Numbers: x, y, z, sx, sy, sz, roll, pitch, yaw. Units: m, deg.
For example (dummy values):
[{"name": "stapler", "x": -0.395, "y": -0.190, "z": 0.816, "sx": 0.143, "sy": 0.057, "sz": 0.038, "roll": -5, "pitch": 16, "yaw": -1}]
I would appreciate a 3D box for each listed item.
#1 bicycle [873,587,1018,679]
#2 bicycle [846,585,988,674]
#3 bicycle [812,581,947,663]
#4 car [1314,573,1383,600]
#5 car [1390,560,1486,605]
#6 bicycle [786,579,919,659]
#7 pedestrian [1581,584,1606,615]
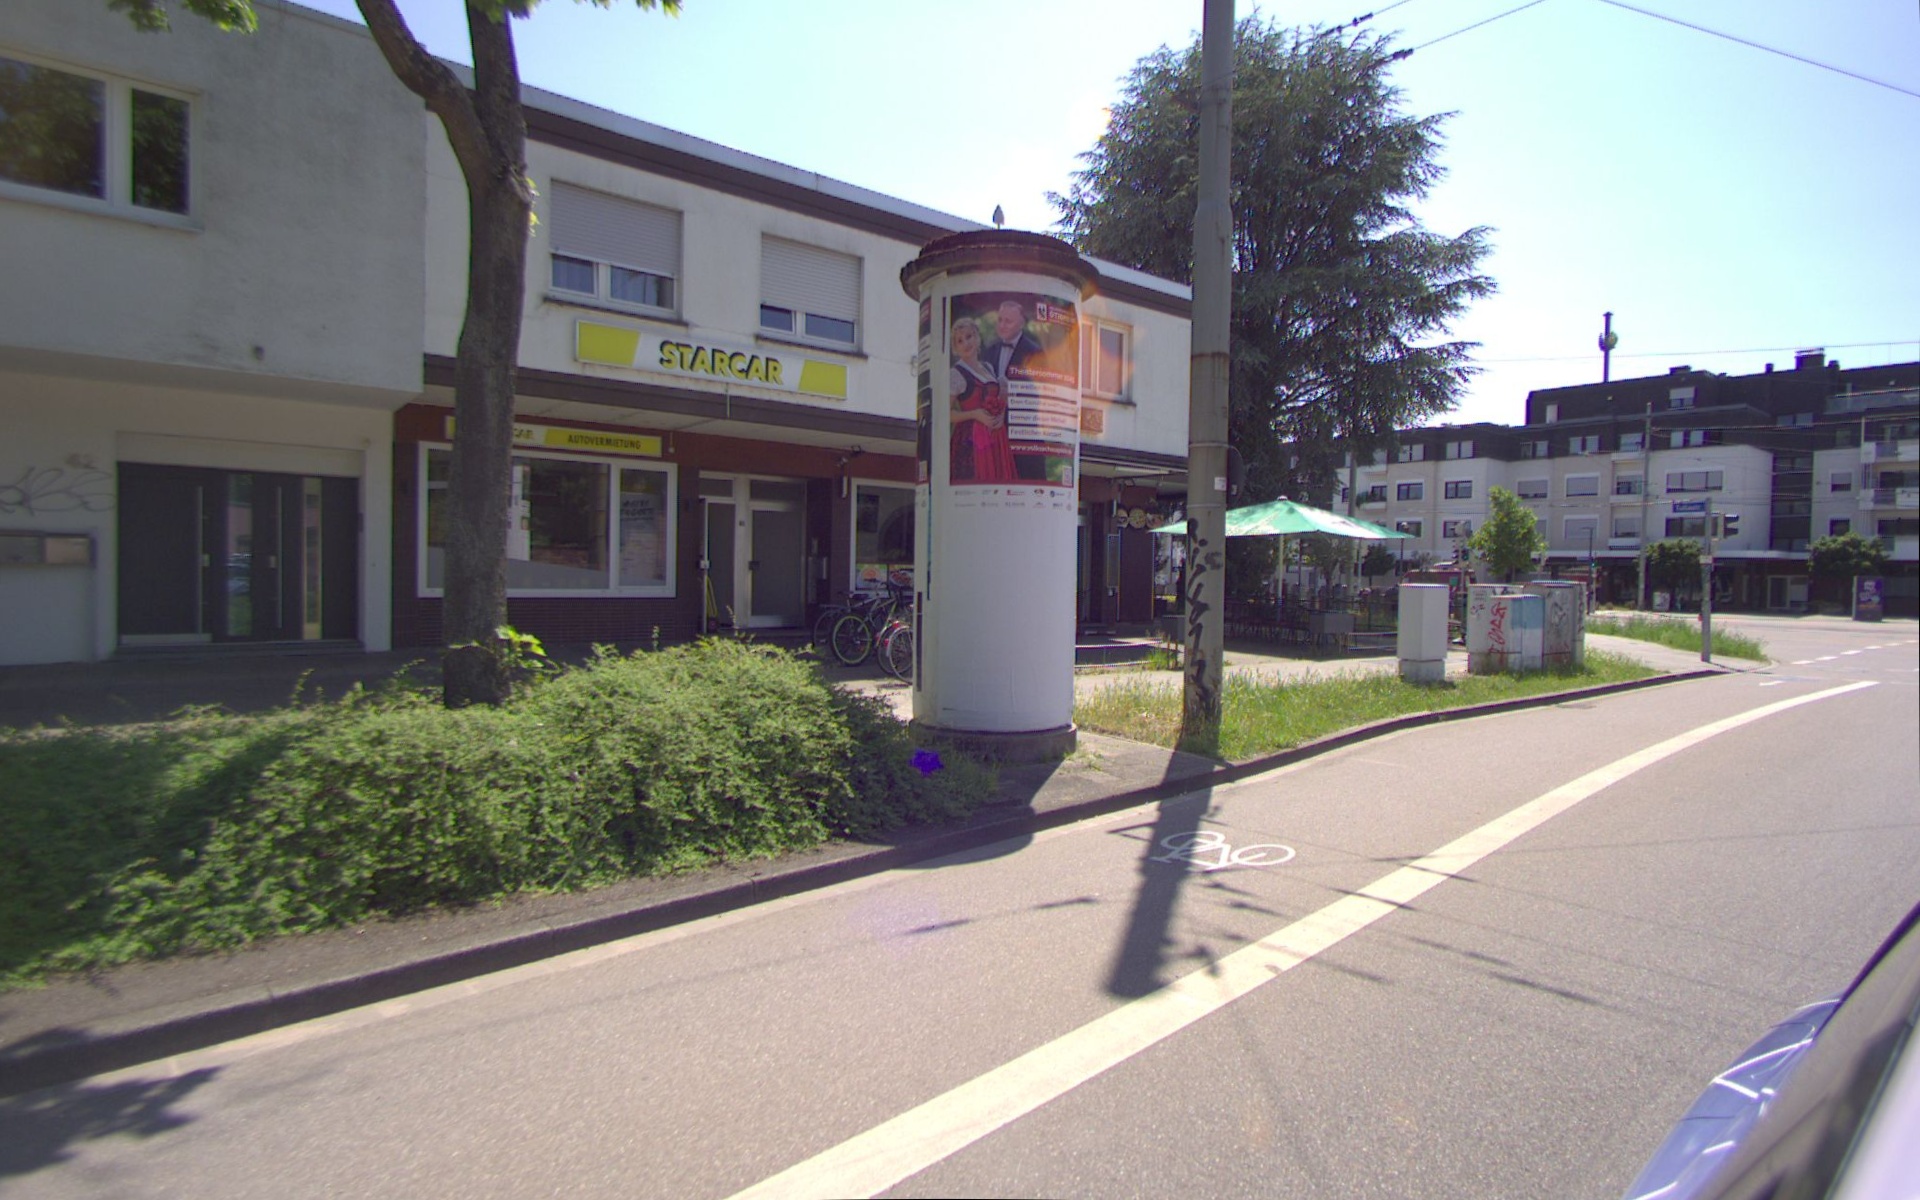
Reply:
[{"name": "bicycle", "x": -0.154, "y": 0.384, "z": 12.867, "sx": 1.988, "sy": 1.081, "sz": 0.543, "roll": 0, "pitch": 2, "yaw": -43}, {"name": "bicycle", "x": -0.532, "y": 0.362, "z": 13.317, "sx": 1.988, "sy": 1.081, "sz": 0.543, "roll": 0, "pitch": 2, "yaw": -43}, {"name": "bicycle", "x": -1.098, "y": 0.284, "z": 14.248, "sx": 1.988, "sy": 1.081, "sz": 0.543, "roll": 0, "pitch": 2, "yaw": -43}, {"name": "car", "x": 26.779, "y": -0.938, "z": 69.870, "sx": 1.965, "sy": 1.771, "sz": 3.995, "roll": -1, "pitch": 2, "yaw": -40}, {"name": "car", "x": 30.667, "y": -1.183, "z": 65.086, "sx": 1.965, "sy": 2.761, "sz": 5.202, "roll": 0, "pitch": 2, "yaw": -39}, {"name": "bicycle", "x": -1.529, "y": 0.257, "z": 14.671, "sx": 1.988, "sy": 1.081, "sz": 0.543, "roll": 0, "pitch": 2, "yaw": -43}, {"name": "pedestrian", "x": 34.896, "y": -0.032, "z": 55.751, "sx": 0.925, "sy": 1.645, "sz": 0.808, "roll": 1, "pitch": 1, "yaw": -33}]
